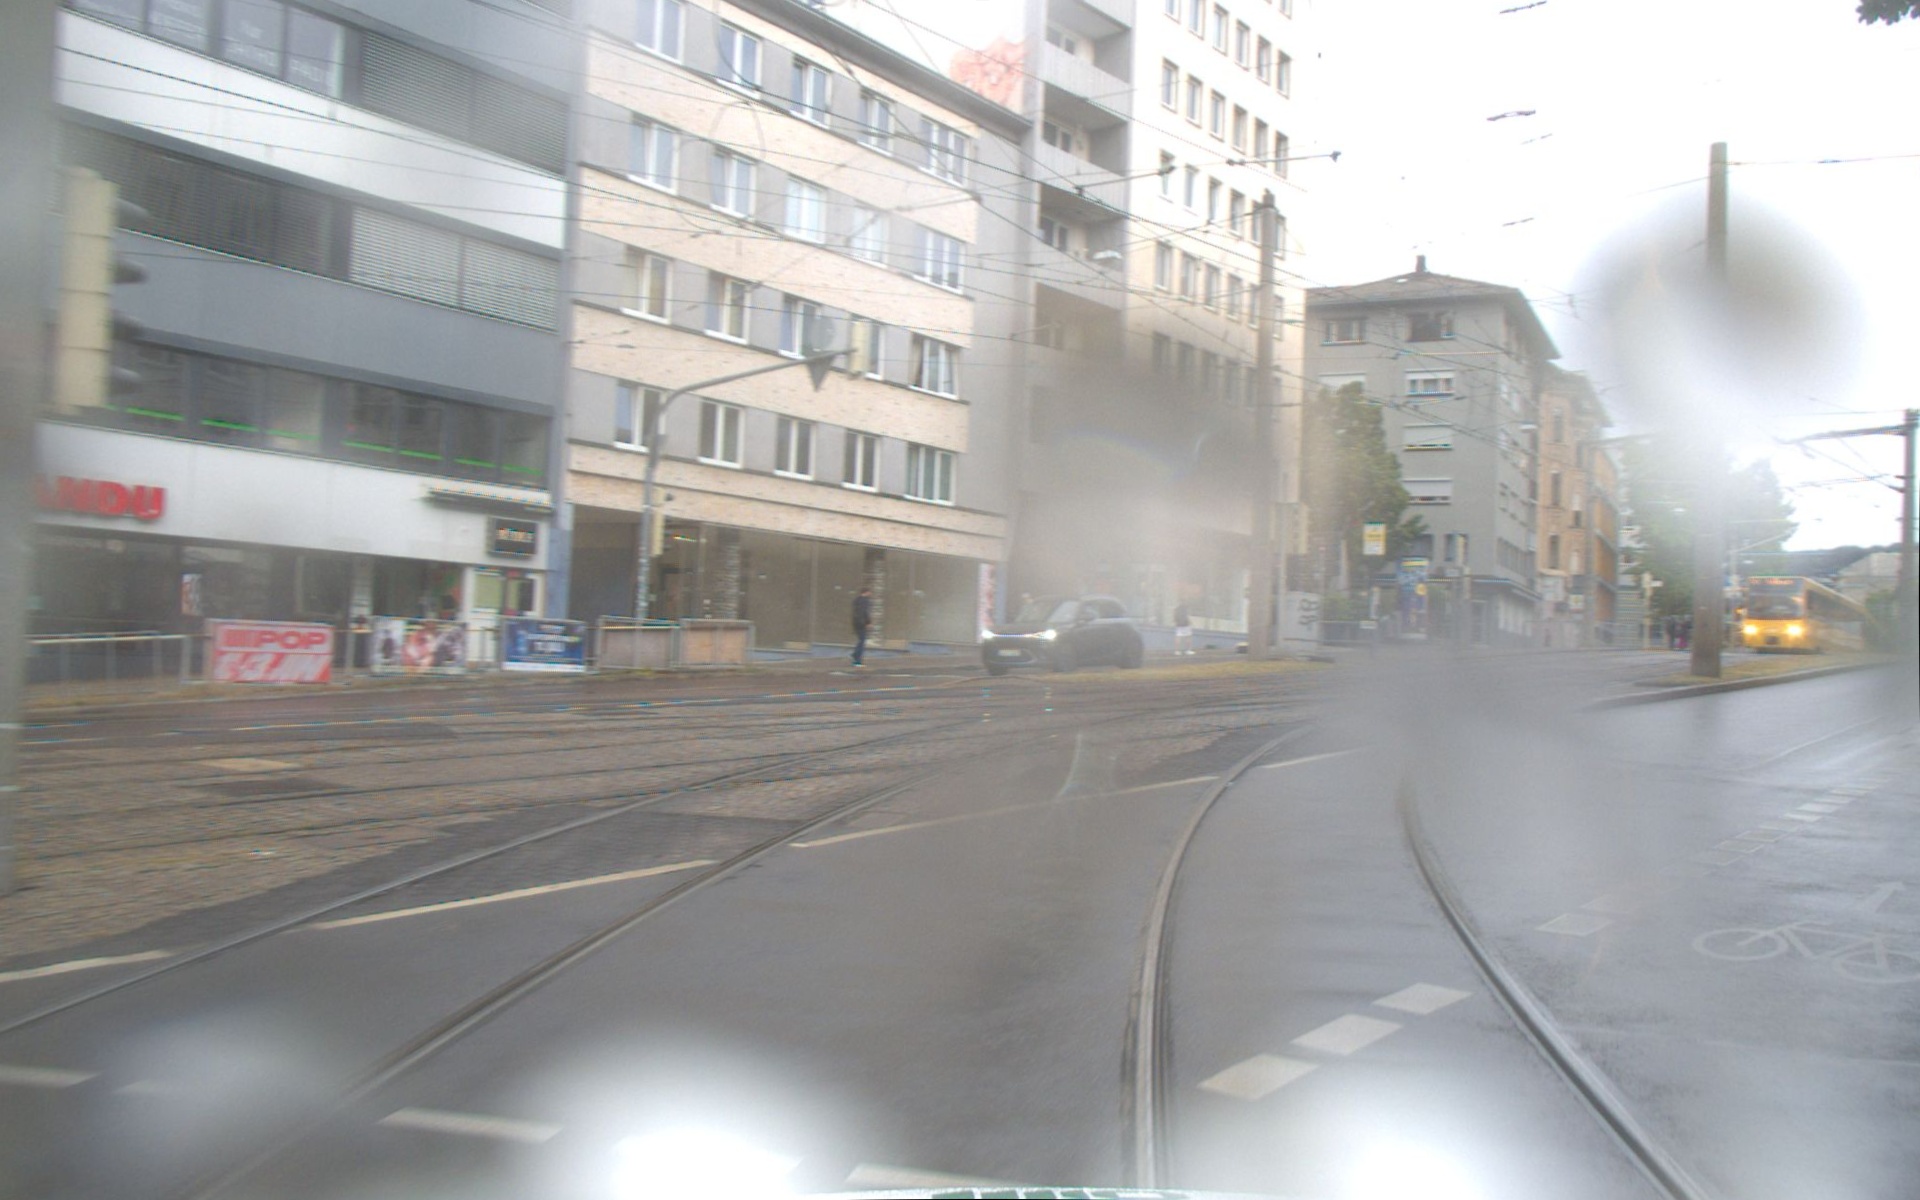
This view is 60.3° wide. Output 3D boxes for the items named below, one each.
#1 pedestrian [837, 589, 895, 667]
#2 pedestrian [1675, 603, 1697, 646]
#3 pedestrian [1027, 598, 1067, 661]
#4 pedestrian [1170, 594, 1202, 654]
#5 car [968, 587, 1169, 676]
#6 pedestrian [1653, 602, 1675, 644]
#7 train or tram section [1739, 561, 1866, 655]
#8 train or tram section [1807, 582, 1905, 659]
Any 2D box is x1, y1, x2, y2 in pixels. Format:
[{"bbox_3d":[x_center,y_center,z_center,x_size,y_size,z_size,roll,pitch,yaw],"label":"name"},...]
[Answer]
[{"bbox_3d":[-2.103,0.625,37.110,0.874,1.710,0.993,0,-1,40],"label":"pedestrian"},{"bbox_3d":[31.224,1.051,71.123,0.720,1.822,0.694,-1,-1,36],"label":"pedestrian"},{"bbox_3d":[2.403,0.803,45.500,0.667,1.710,0.995,0,-1,36],"label":"pedestrian"},{"bbox_3d":[6.708,0.707,49.021,0.586,1.768,0.906,0,-1,36],"label":"pedestrian"},{"bbox_3d":[2.304,0.622,33.996,1.961,1.702,4.507,0,-1,38],"label":"car"},{"bbox_3d":[30.430,0.999,71.493,0.720,1.822,0.694,-1,-1,36],"label":"pedestrian"},{"bbox_3d":[40.161,0.585,78.287,2.699,3.762,18.900,1,-2,35],"label":"train or tram section"},{"bbox_3d":[51.020,1.329,93.750,2.699,3.762,18.900,1,-2,35],"label":"train or tram section"}]
